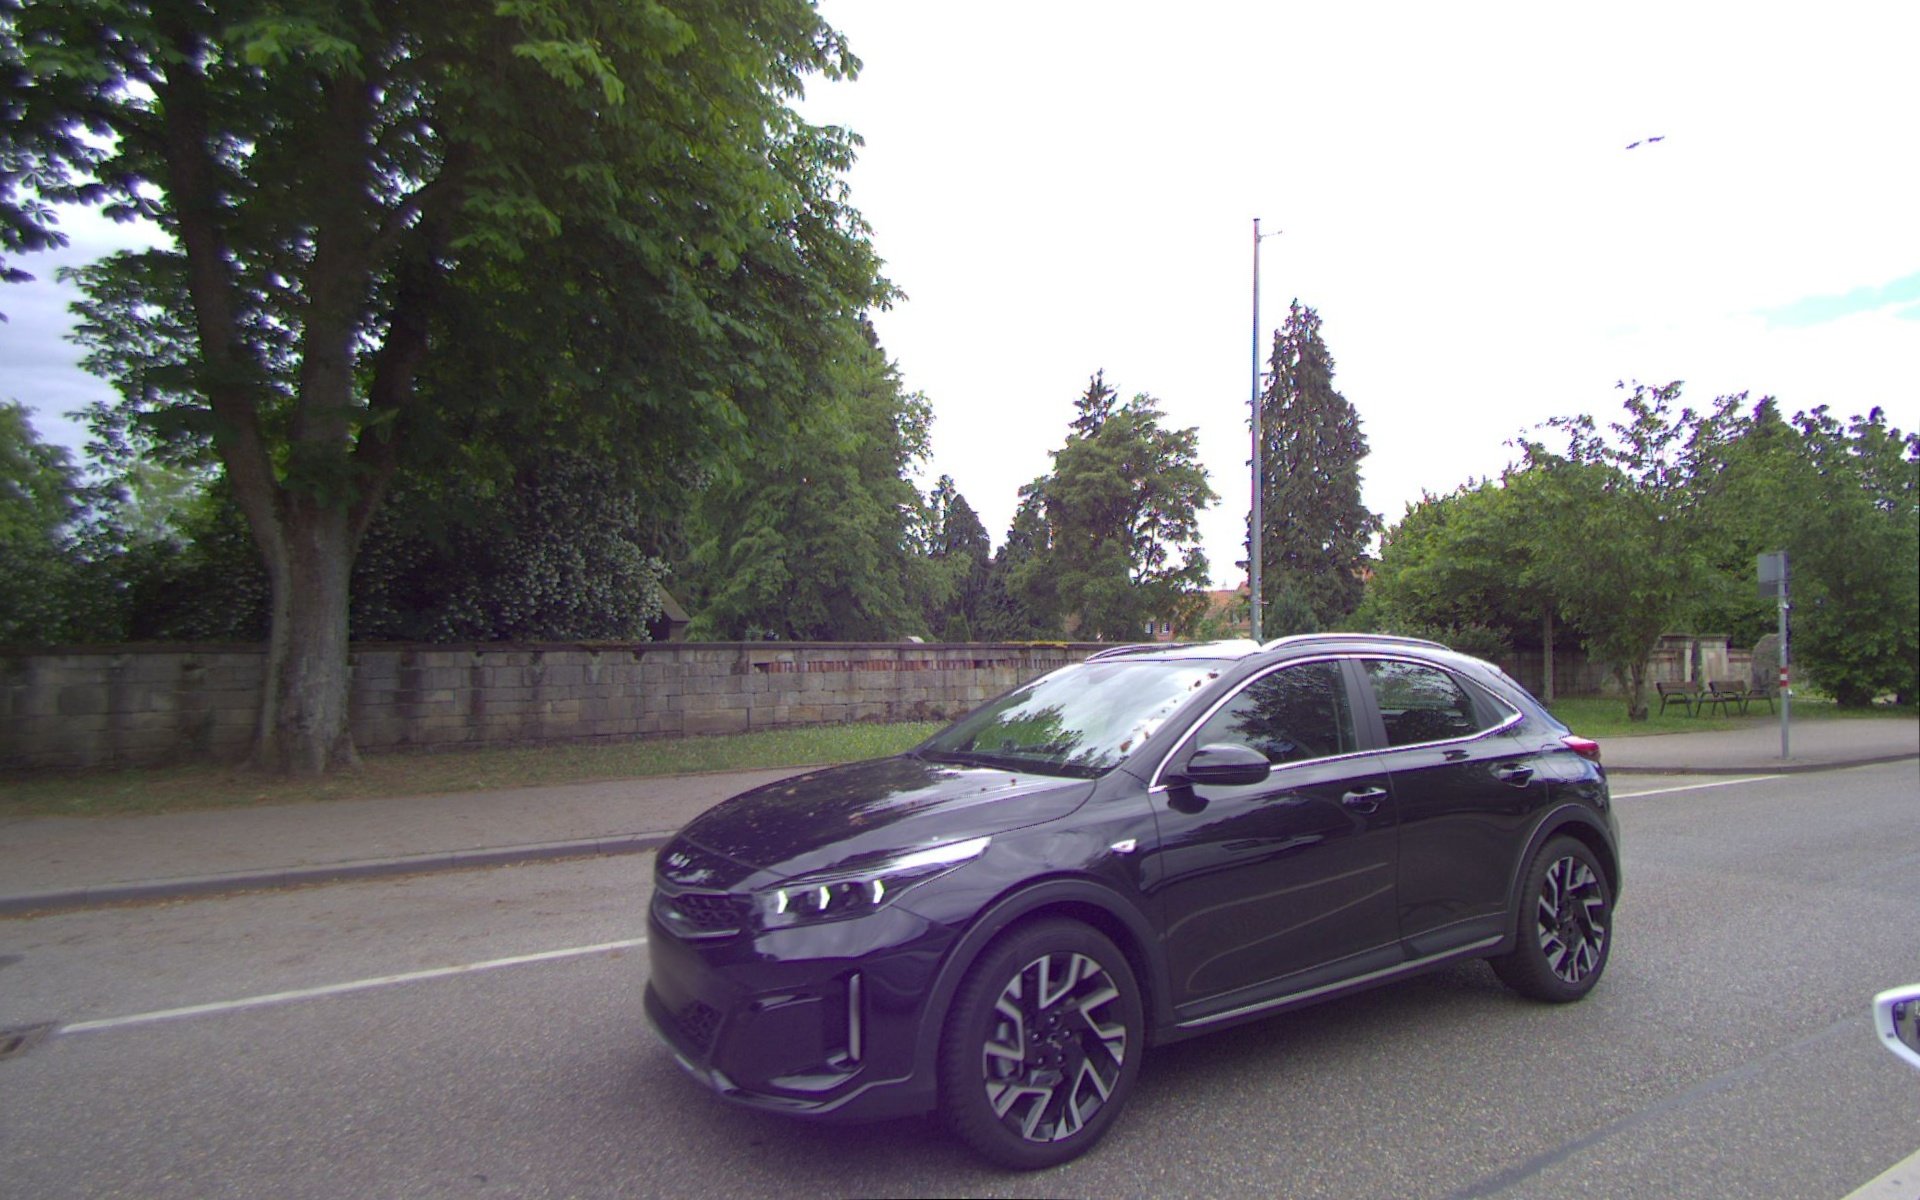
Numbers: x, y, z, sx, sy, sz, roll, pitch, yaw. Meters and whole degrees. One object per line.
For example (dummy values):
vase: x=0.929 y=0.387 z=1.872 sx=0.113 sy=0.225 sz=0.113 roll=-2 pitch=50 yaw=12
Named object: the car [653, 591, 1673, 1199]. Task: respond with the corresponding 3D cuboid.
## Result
car: x=0.954 y=0.855 z=4.109 sx=3.953 sy=1.502 sz=1.693 roll=2 pitch=-5 yaw=-30
